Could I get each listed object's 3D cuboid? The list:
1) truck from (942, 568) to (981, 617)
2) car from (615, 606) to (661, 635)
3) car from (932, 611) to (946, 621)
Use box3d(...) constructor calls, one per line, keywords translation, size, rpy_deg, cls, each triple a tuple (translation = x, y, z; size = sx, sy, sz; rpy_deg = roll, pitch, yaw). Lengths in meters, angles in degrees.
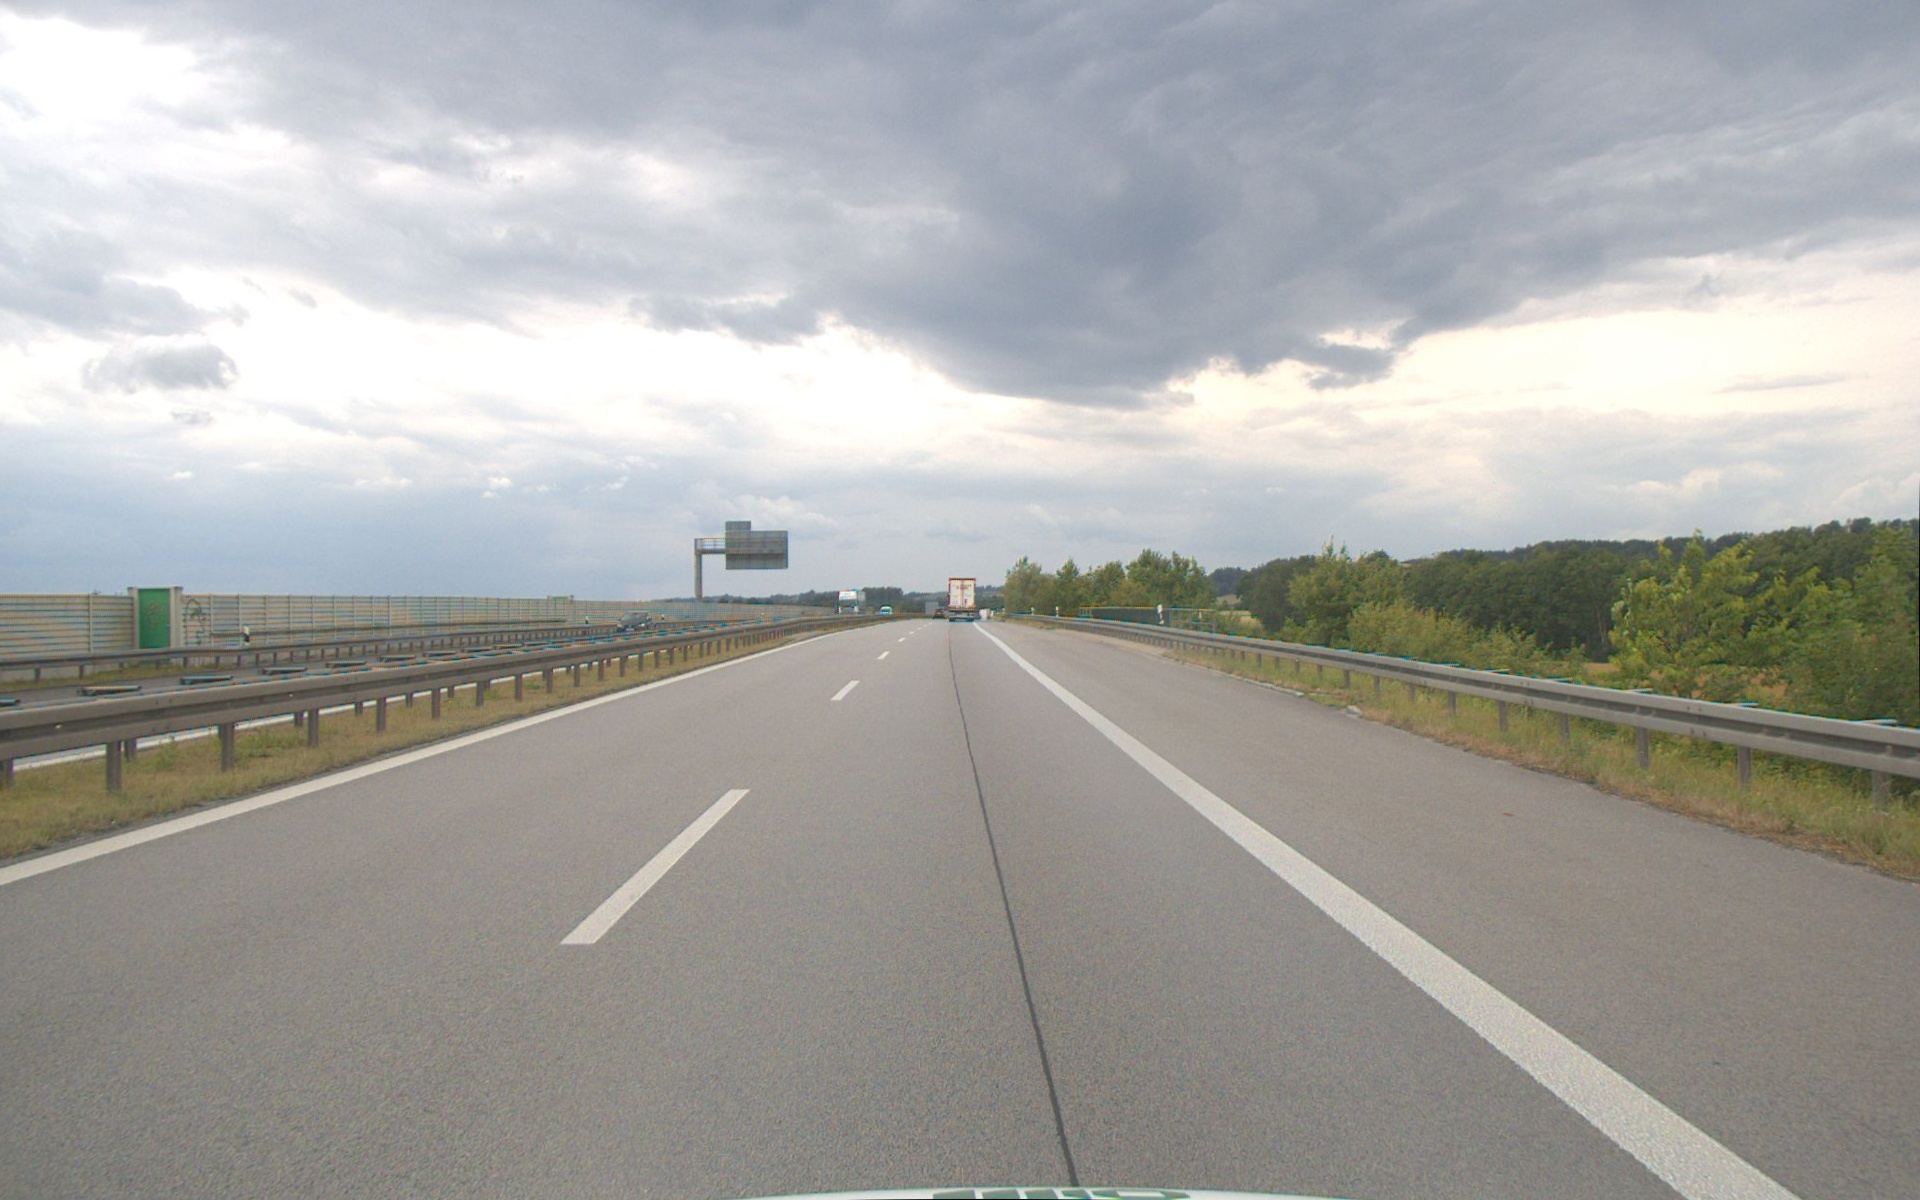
box3d(translation=(0.199, -0.603, 163.702), size=(3.597, 4.490, 16.339), rpy_deg=(-1, -1, 0), cls="truck")
box3d(translation=(-18.346, 1.172, 94.409), size=(1.669, 1.521, 4.565), rpy_deg=(-2, 0, -1), cls="car")
box3d(translation=(-3.181, 2.450, 250.735), size=(1.954, 1.445, 3.998), rpy_deg=(0, 0, -3), cls="car")
